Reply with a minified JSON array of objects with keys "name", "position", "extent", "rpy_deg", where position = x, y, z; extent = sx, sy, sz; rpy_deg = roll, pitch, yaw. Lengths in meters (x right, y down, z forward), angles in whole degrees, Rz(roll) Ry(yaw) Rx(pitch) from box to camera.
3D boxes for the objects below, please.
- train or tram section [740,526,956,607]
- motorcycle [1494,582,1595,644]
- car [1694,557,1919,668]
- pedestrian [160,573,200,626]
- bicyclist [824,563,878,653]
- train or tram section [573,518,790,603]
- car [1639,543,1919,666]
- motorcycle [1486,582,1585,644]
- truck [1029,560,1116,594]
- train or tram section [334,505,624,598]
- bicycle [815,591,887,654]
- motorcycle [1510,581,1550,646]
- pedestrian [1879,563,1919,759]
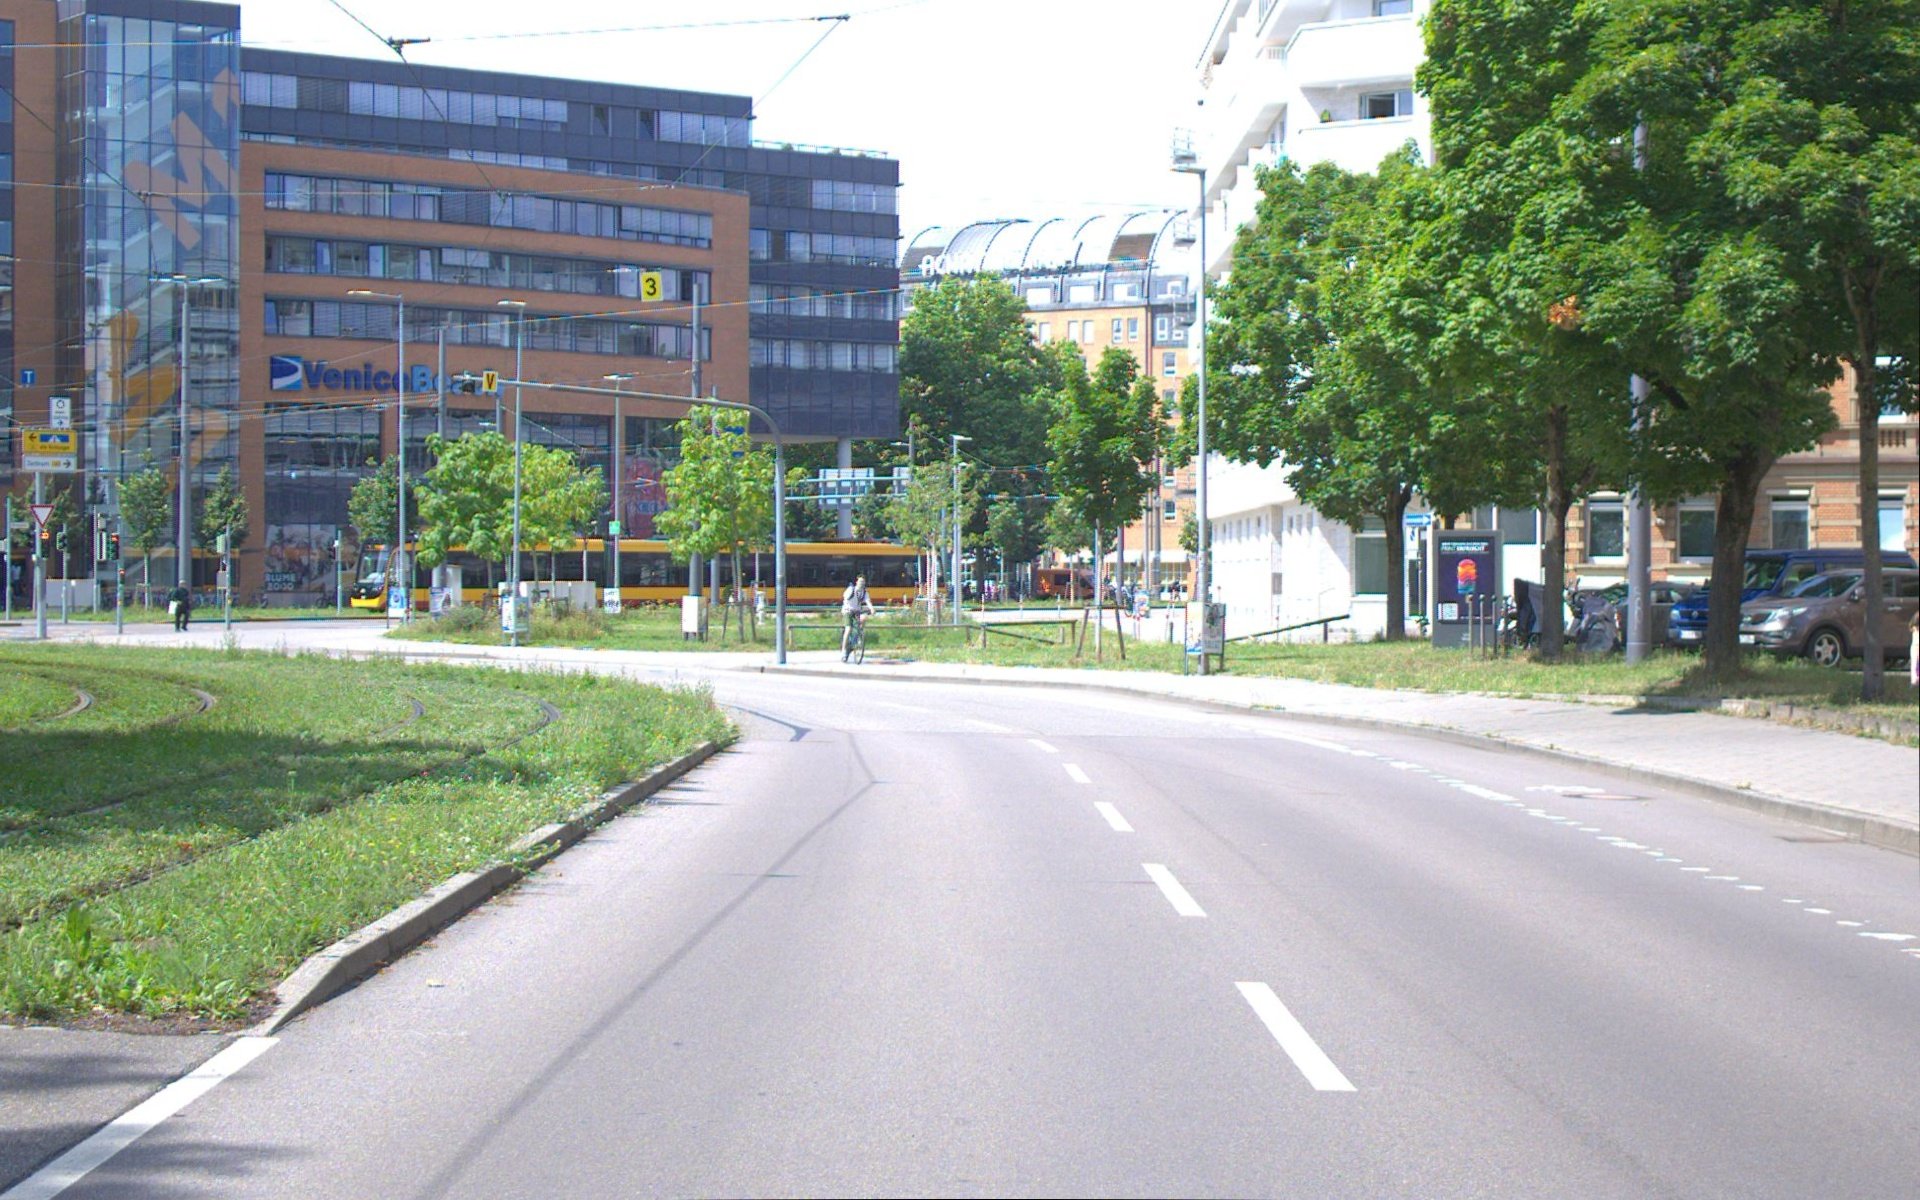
[{"name":"train or tram section","position":[-5.331,-1.589,167.304],"extent":[3.062,3.609,12.607],"rpy_deg":[1,0,38]},{"name":"motorcycle","position":[11.071,0.242,65.151],"extent":[1.783,1.163,0.640],"rpy_deg":[0,0,-2]},{"name":"car","position":[13.905,0.212,54.410],"extent":[4.160,1.650,1.917],"rpy_deg":[2,0,-27]},{"name":"pedestrian","position":[-25.211,-0.014,111.141],"extent":[0.917,1.696,0.807],"rpy_deg":[0,0,24]},{"name":"bicyclist","position":[-2.244,0.164,70.500],"extent":[0.694,1.818,0.956],"rpy_deg":[-3,1,-28]},{"name":"train or tram section","position":[-12.714,-1.776,158.190],"extent":[3.062,3.591,10.966],"rpy_deg":[1,0,40]},{"name":"car","position":[13.756,0.082,57.400],"extent":[4.614,1.921,1.917],"rpy_deg":[2,0,-31]},{"name":"motorcycle","position":[11.055,0.244,66.034],"extent":[1.783,1.163,0.640],"rpy_deg":[0,0,-2]},{"name":"truck","position":[7.236,-1.489,221.622],"extent":[5.518,2.079,1.995],"rpy_deg":[1,0,40]},{"name":"train or tram section","position":[-20.697,-2.041,149.144],"extent":[3.224,3.587,13.466],"rpy_deg":[1,0,42]},{"name":"bicycle","position":[-2.245,0.452,70.523],"extent":[0.693,1.238,1.839],"rpy_deg":[-3,1,-28]},{"name":"motorcycle","position":[10.362,0.245,62.470],"extent":[0.638,1.163,1.905],"rpy_deg":[0,0,12]},{"name":"pedestrian","position":[8.092,0.505,28.425],"extent":[0.700,1.587,0.905],"rpy_deg":[1,0,-1]}]
